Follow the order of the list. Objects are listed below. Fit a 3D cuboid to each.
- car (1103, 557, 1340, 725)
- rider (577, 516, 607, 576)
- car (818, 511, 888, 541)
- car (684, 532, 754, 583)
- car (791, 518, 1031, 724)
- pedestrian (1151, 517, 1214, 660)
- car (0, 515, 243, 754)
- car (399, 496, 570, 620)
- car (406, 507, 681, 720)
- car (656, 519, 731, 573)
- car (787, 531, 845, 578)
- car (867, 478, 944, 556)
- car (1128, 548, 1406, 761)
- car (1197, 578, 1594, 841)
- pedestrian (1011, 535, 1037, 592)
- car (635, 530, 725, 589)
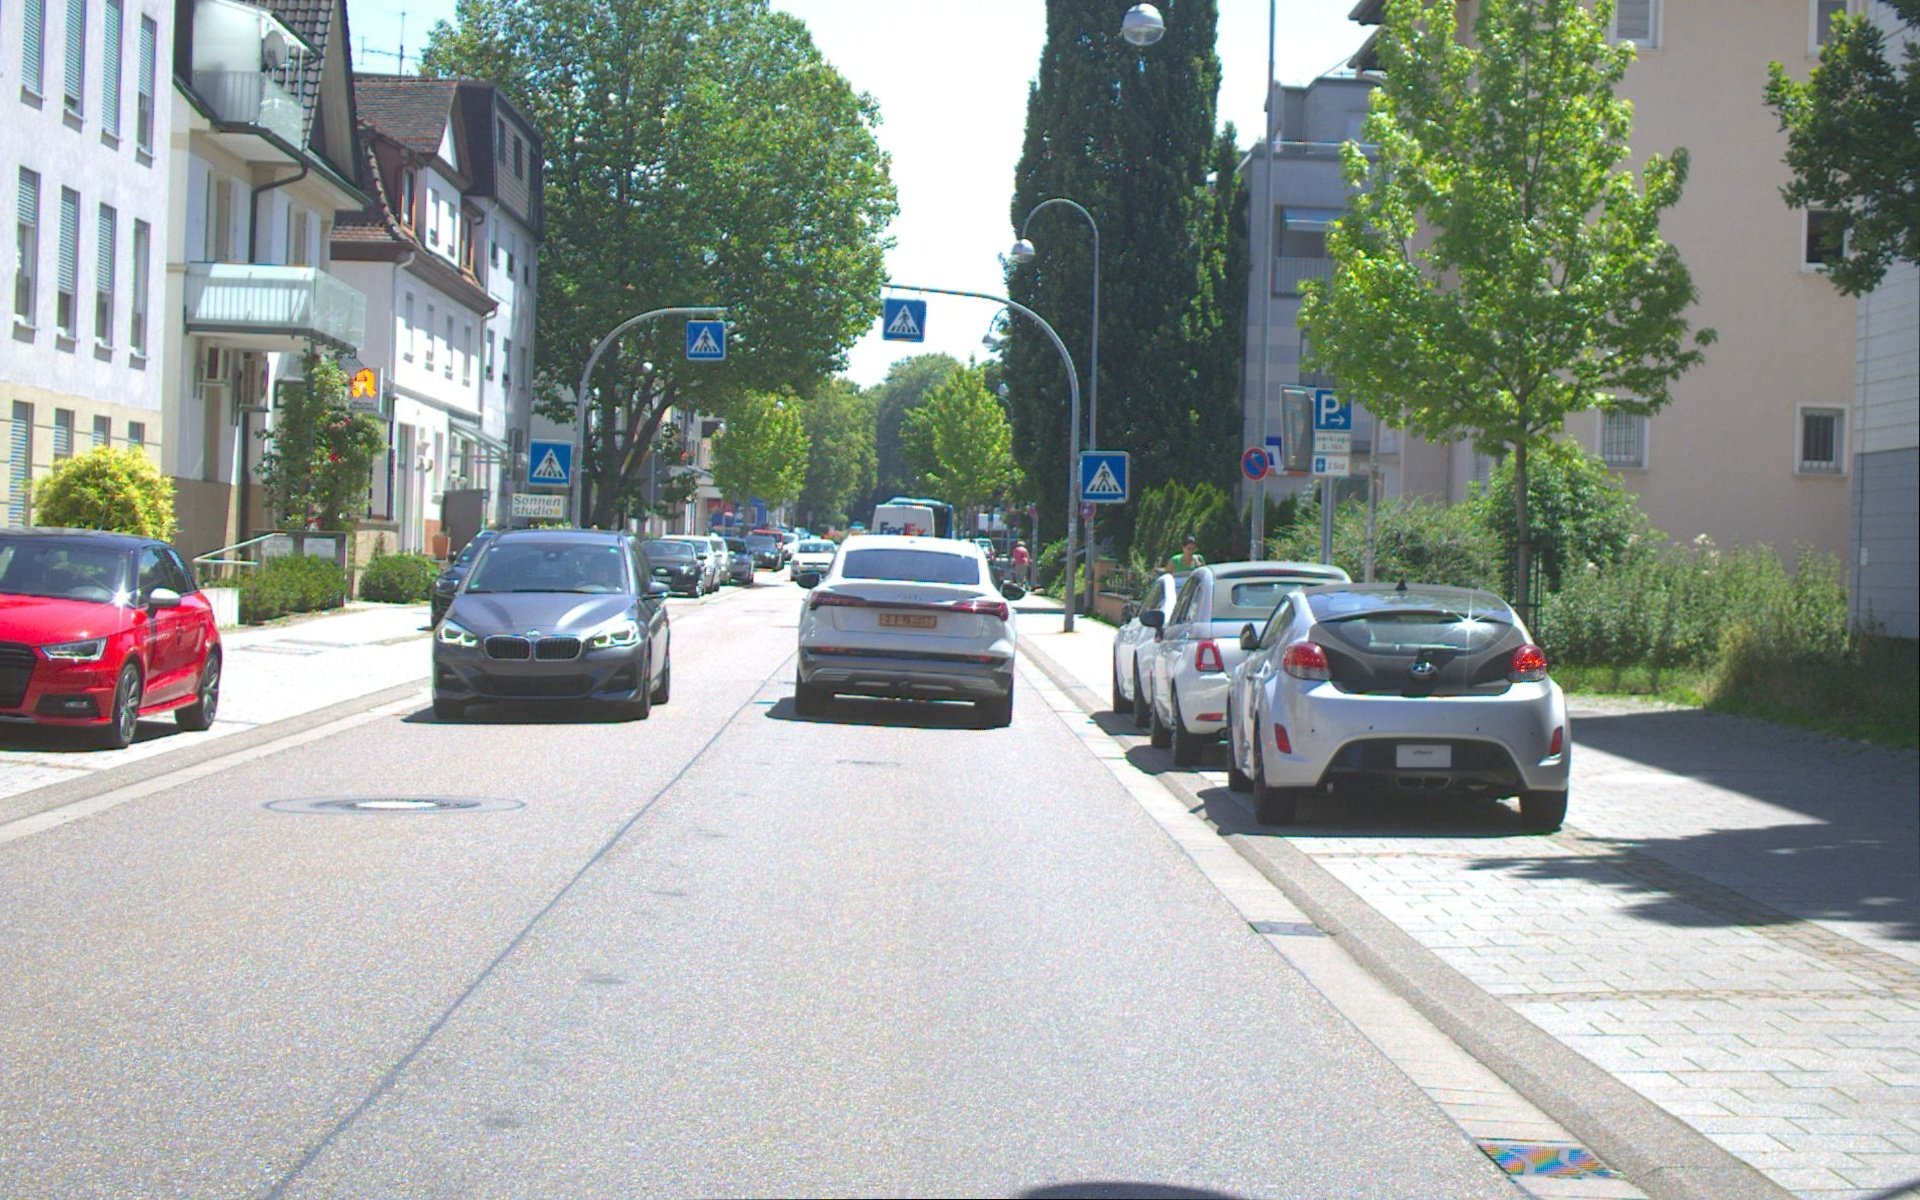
[{"bbox_3d":[2.350,0.330,31.897,1.726,1.378,4.402,0,1,-2],"label":"car"},{"bbox_3d":[-9.653,-1.429,90.191,0.661,1.548,0.661,2,1,-1],"label":"rider"},{"bbox_3d":[-6.528,-4.512,209.581,3.988,1.645,2.000,2,1,6],"label":"car"},{"bbox_3d":[-7.611,-1.361,108.846,1.993,1.514,4.001,2,1,-2],"label":"car"},{"bbox_3d":[-0.440,0.131,31.651,1.936,1.608,4.472,5,1,-1],"label":"car"},{"bbox_3d":[2.774,-0.151,42.901,0.637,1.752,0.617,2,1,-5],"label":"pedestrian"},{"bbox_3d":[-6.330,0.177,24.135,1.649,1.414,3.906,5,1,0],"label":"car"},{"bbox_3d":[-7.043,-0.654,51.354,1.926,1.714,4.472,2,1,-1],"label":"car"},{"bbox_3d":[-3.547,0.055,30.015,1.974,1.665,4.472,2,1,-2],"label":"car"},{"bbox_3d":[-7.932,-1.635,102.642,1.993,1.514,4.001,2,1,-2],"label":"car"},{"bbox_3d":[-5.042,-1.607,120.719,1.978,1.514,4.001,2,1,-2],"label":"car"},{"bbox_3d":[-1.623,-2.440,100.546,2.069,2.189,5.139,-1,2,-2],"label":"car"},{"bbox_3d":[2.323,0.361,26.958,1.658,1.483,4.346,0,1,-2],"label":"car"},{"bbox_3d":[2.582,0.604,21.290,1.862,1.368,4.000,1,1,-1],"label":"car"},{"bbox_3d":[1.993,-1.144,107.494,0.693,1.730,0.668,2,1,-5],"label":"pedestrian"},{"bbox_3d":[-6.890,-1.019,84.995,1.993,1.345,4.001,2,1,-2],"label":"car"}]
